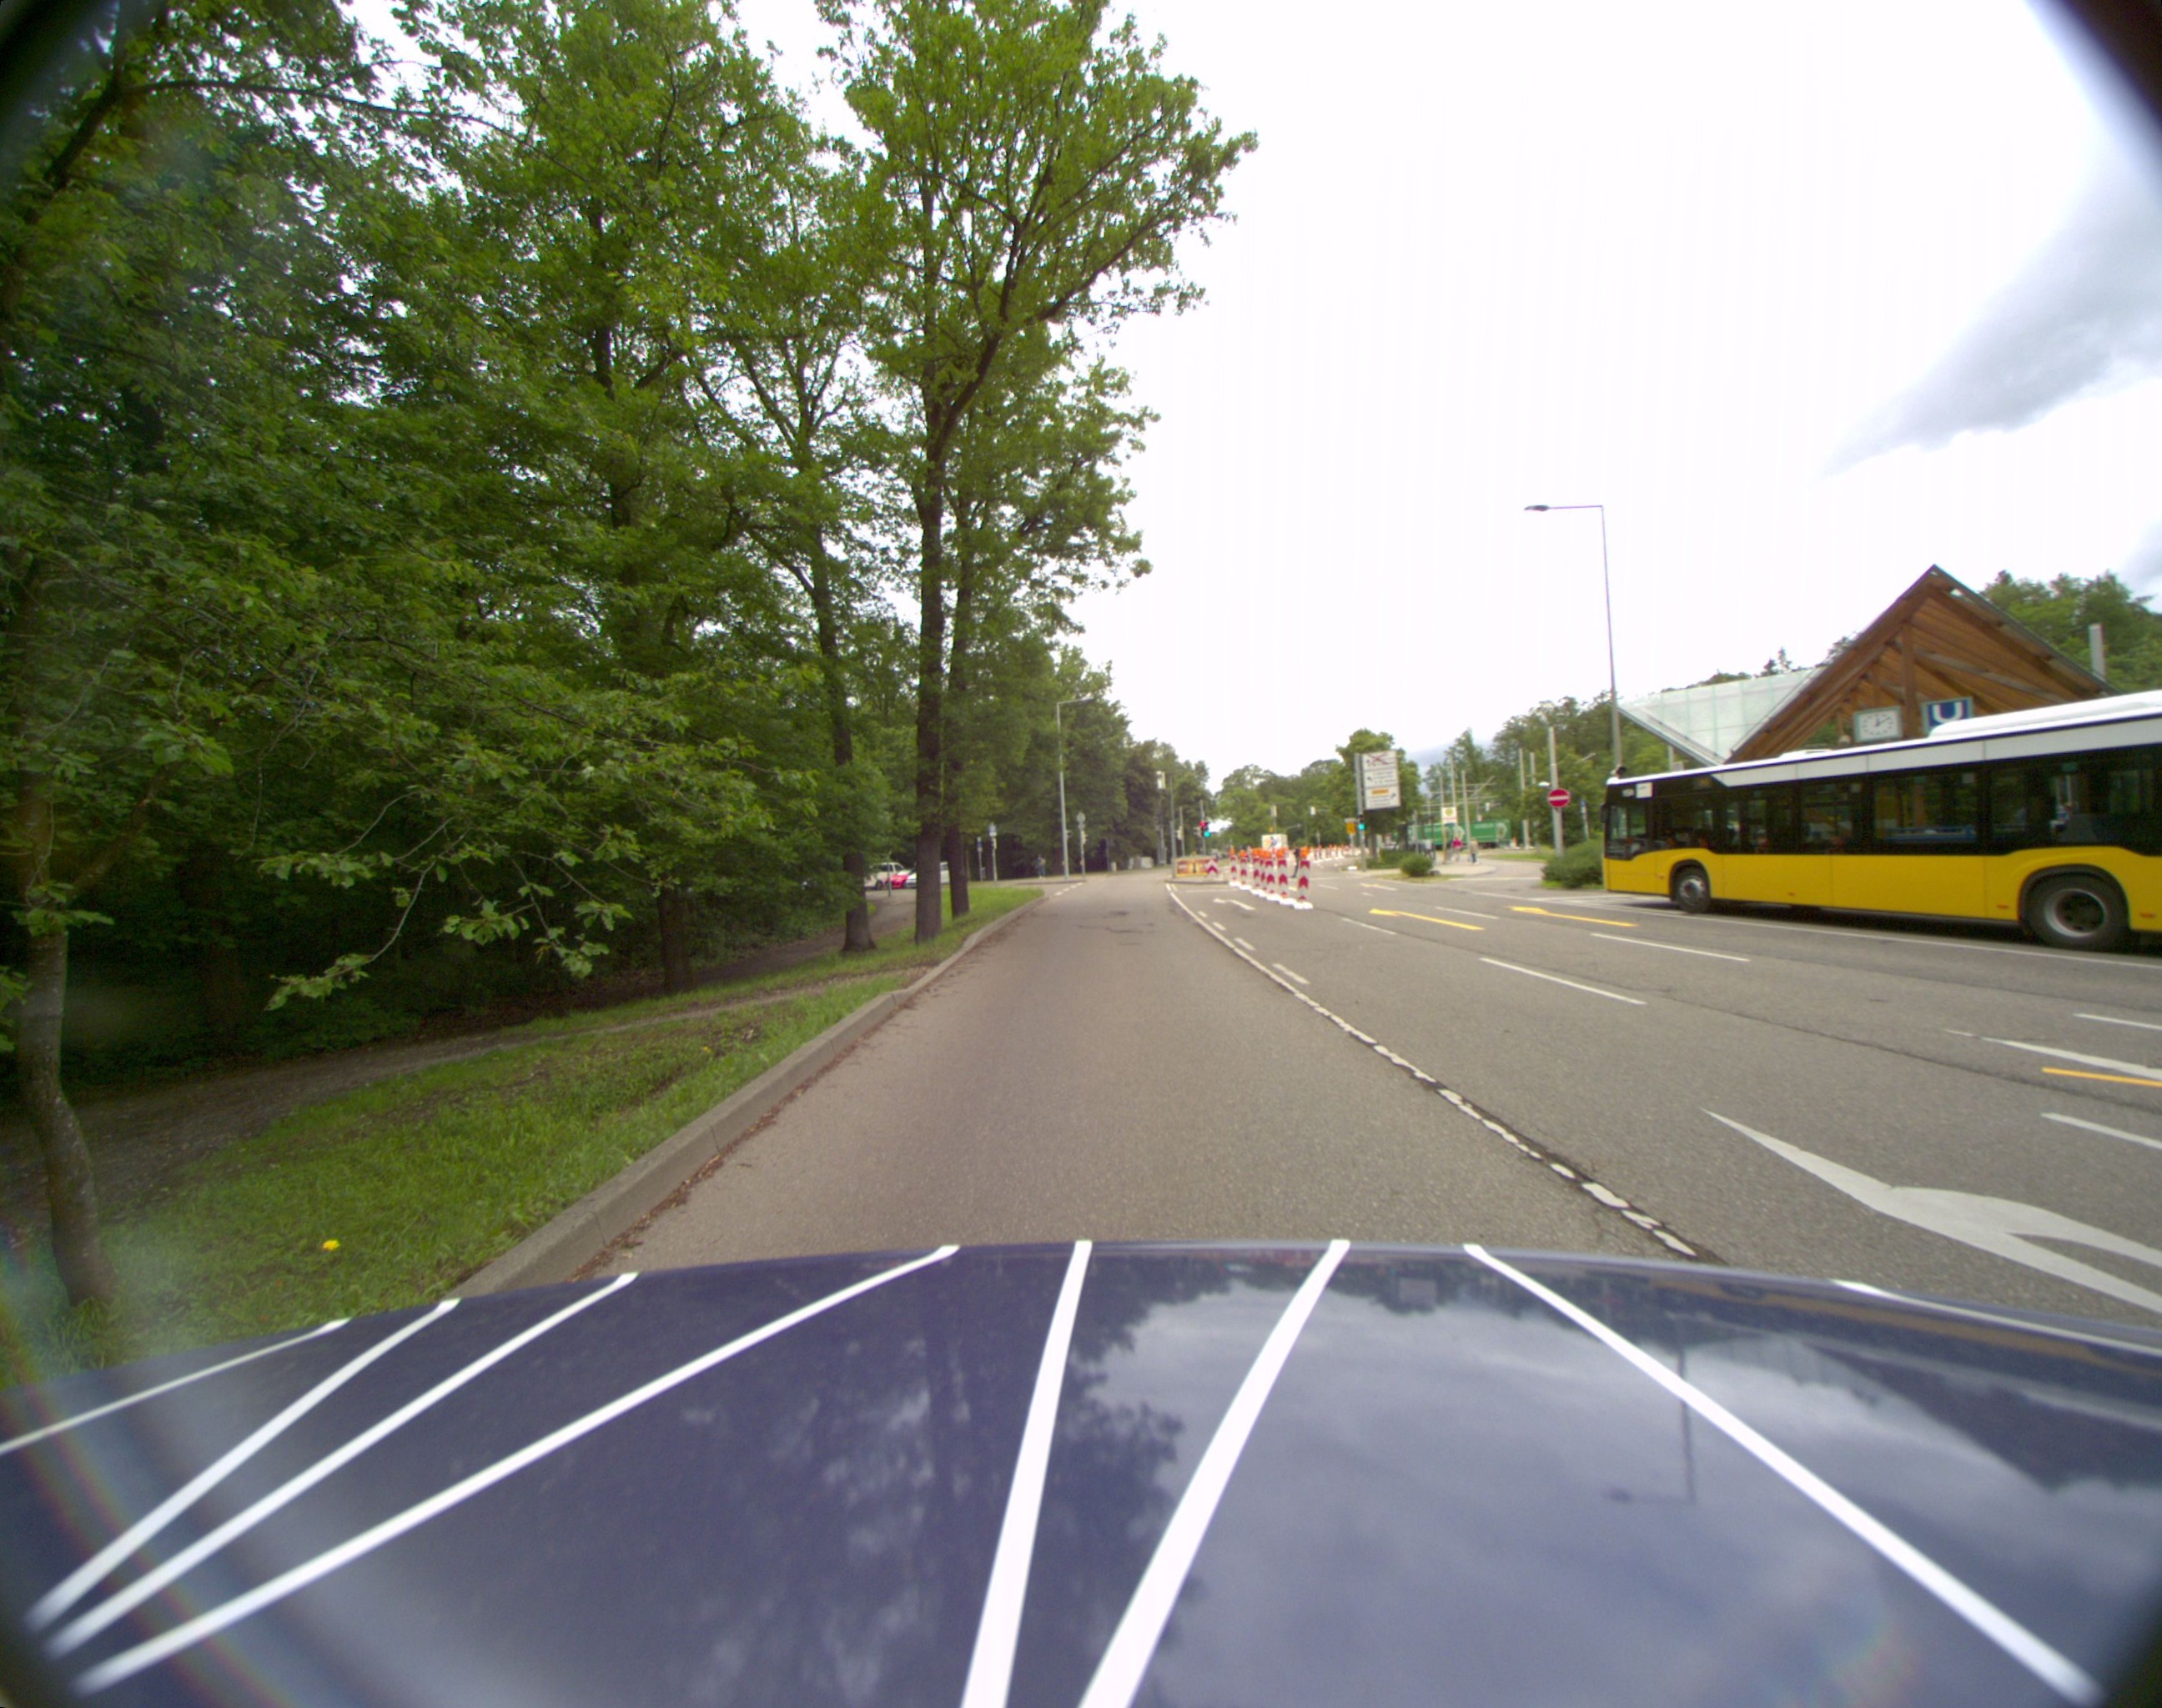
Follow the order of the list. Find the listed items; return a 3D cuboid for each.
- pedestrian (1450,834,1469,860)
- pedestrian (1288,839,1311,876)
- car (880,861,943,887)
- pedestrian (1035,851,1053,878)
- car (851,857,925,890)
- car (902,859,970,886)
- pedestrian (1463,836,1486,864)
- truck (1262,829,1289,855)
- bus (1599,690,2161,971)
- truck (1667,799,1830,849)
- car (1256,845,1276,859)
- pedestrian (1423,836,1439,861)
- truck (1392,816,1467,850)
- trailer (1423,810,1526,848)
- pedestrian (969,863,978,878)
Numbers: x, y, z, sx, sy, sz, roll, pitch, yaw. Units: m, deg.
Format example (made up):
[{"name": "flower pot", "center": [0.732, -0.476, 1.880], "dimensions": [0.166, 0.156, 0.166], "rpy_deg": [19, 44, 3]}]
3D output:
[{"name": "pedestrian", "center": [23.729, -0.439, 47.672], "dimensions": [0.791, 1.542, 0.776], "rpy_deg": [-4, 0, 12]}, {"name": "pedestrian", "center": [11.260, 0.177, 39.159], "dimensions": [0.993, 1.798, 0.767], "rpy_deg": [-4, 0, 20]}, {"name": "car", "center": [-12.096, 1.419, 54.412], "dimensions": [1.890, 1.543, 4.007], "rpy_deg": [-4, -1, 35]}, {"name": "pedestrian", "center": [-2.396, 0.681, 49.580], "dimensions": [1.093, 1.666, 0.911], "rpy_deg": [-3, 1, -3]}, {"name": "car", "center": [-14.160, 1.427, 56.072], "dimensions": [2.058, 1.946, 5.191], "rpy_deg": [-4, 1, 32]}, {"name": "car", "center": [-10.060, 1.297, 53.058], "dimensions": [1.995, 1.543, 4.429], "rpy_deg": [-4, -1, 35]}, {"name": "pedestrian", "center": [22.112, -0.224, 42.690], "dimensions": [0.769, 1.516, 0.873], "rpy_deg": [-4, 0, -41]}, {"name": "truck", "center": [24.805, -1.525, 96.720], "dimensions": [2.631, 3.219, 6.215], "rpy_deg": [-1, 1, 20]}, {"name": "bus", "center": [13.492, -0.334, 12.808], "dimensions": [2.906, 3.109, 9.759], "rpy_deg": [-2, 0, 1]}, {"name": "truck", "center": [36.741, -1.575, 42.158], "dimensions": [2.609, 2.157, 6.295], "rpy_deg": [-4, -1, -17]}, {"name": "car", "center": [20.560, -0.238, 84.612], "dimensions": [1.811, 1.500, 4.310], "rpy_deg": [-2, 1, 10]}, {"name": "pedestrian", "center": [22.893, -0.357, 49.748], "dimensions": [0.775, 1.537, 0.629], "rpy_deg": [-4, 1, 14]}, {"name": "truck", "center": [47.793, -2.854, 104.463], "dimensions": [3.792, 3.858, 8.757], "rpy_deg": [-4, 0, -25]}, {"name": "trailer", "center": [50.595, -3.125, 98.328], "dimensions": [3.792, 3.858, 11.848], "rpy_deg": [-4, -1, -25]}, {"name": "pedestrian", "center": [-12.346, 1.862, 87.410], "dimensions": [0.833, 1.641, 1.035], "rpy_deg": [-4, 0, -2]}]
